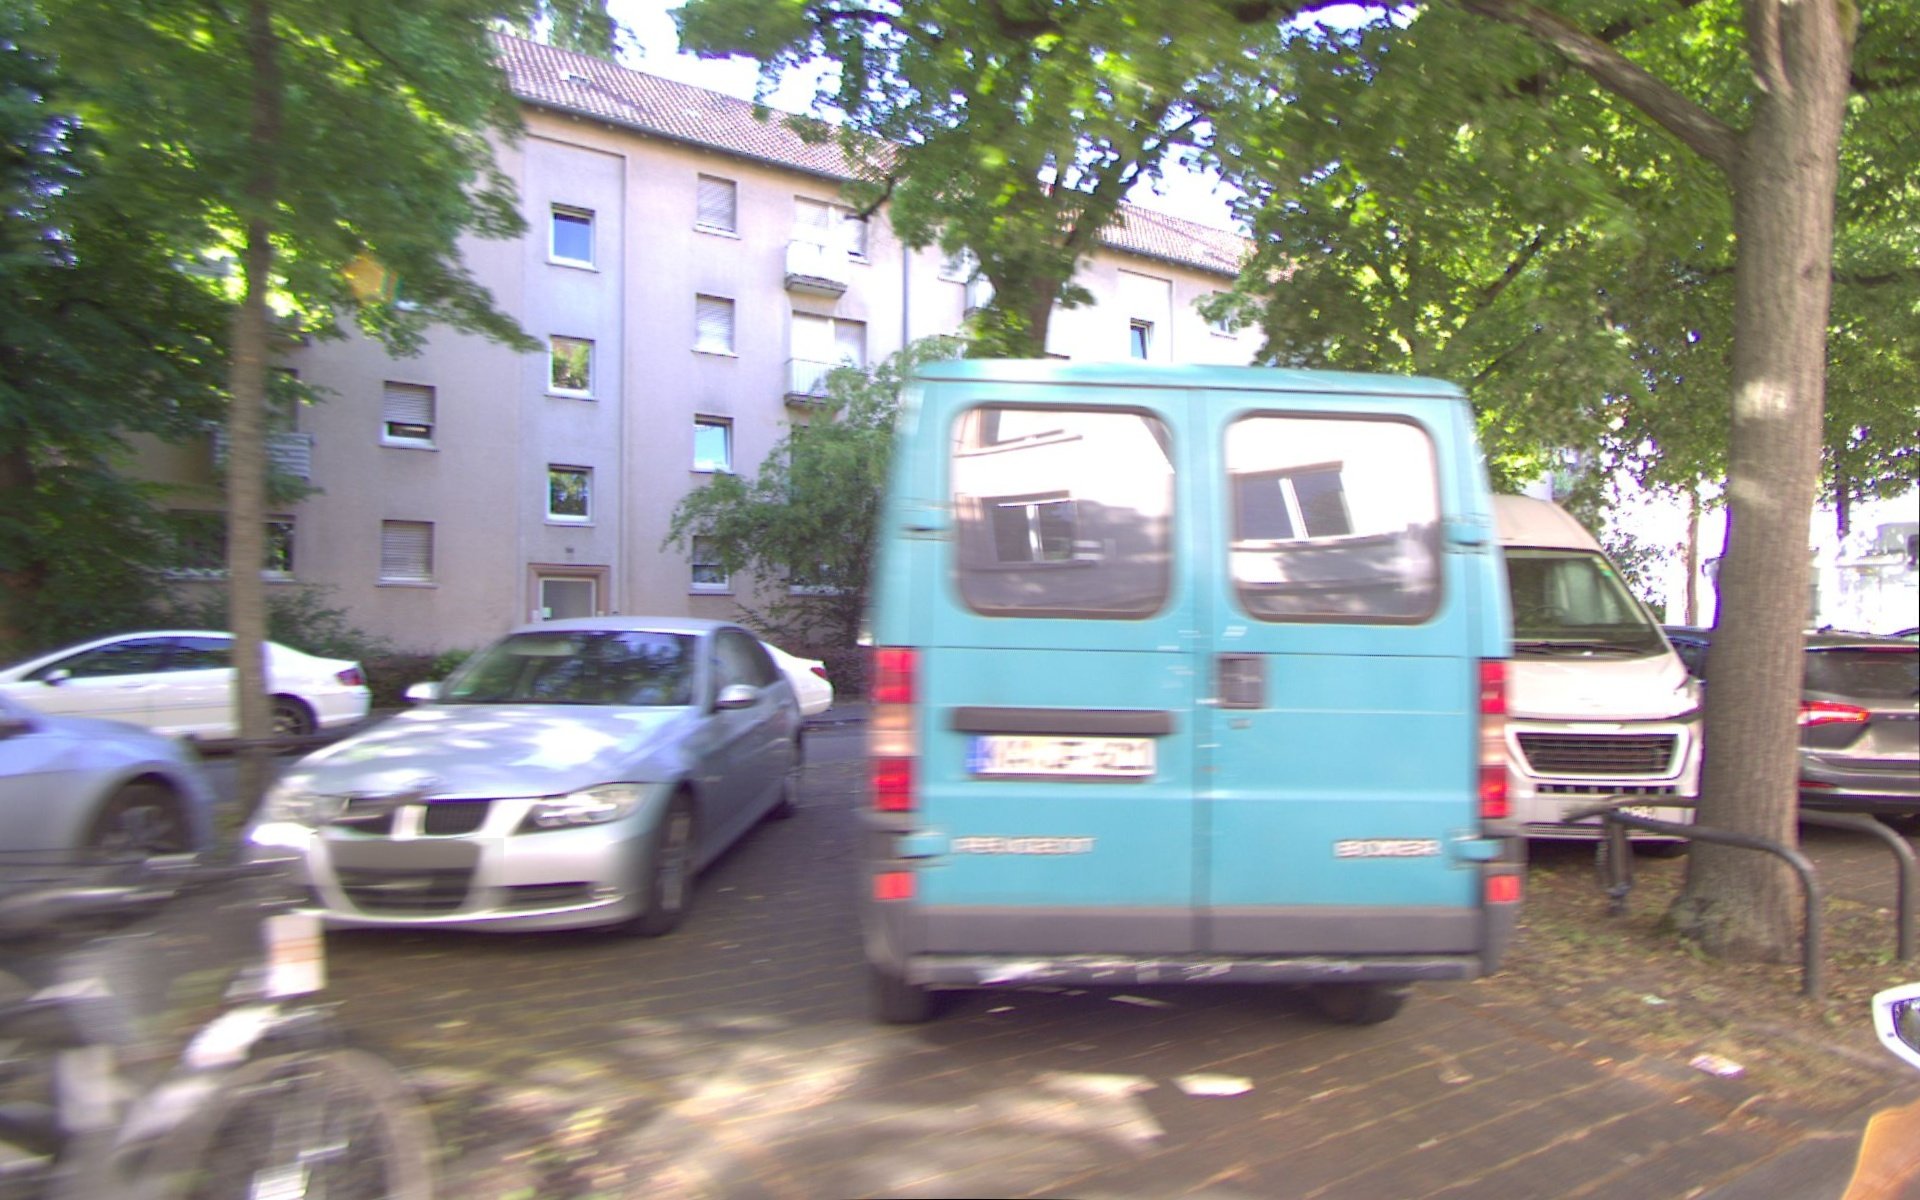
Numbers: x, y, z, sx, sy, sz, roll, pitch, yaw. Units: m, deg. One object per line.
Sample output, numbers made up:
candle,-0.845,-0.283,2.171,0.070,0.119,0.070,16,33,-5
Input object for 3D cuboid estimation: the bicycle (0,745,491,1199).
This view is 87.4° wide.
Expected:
bicycle,-1.707,0.894,2.038,1.695,1.019,0.510,0,-1,32

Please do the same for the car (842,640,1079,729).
car,0.030,1.342,16.689,3.622,1.291,1.610,1,-1,-29

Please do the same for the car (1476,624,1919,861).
car,6.167,0.939,8.215,1.787,1.433,3.966,1,-1,-1

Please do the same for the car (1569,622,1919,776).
car,9.210,1.029,11.975,1.786,1.493,3.968,1,-1,6

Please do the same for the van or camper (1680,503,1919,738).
van or camper,14.662,0.332,15.391,2.446,3.283,6.679,0,-1,0

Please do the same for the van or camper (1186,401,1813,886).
van or camper,3.654,0.307,8.519,2.210,2.672,5.888,0,-1,1

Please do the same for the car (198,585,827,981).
car,-1.949,0.714,5.763,1.687,1.450,4.000,1,-1,2

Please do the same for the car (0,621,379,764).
car,-9.190,0.989,11.569,4.244,1.443,1.656,1,-1,-29

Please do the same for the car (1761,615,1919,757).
car,12.049,1.023,11.936,1.788,1.650,3.965,1,-1,-3

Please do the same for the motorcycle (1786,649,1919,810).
motorcycle,8.289,1.079,8.055,0.751,1.275,2.546,1,-1,-20

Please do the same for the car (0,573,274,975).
car,-4.381,0.612,3.100,1.810,1.462,3.956,1,-1,-1

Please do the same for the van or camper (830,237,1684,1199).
van or camper,0.560,0.355,5.246,2.178,2.305,5.513,1,-1,-5

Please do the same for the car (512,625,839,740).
car,-4.078,1.107,14.573,4.309,1.443,1.656,1,-1,-29
